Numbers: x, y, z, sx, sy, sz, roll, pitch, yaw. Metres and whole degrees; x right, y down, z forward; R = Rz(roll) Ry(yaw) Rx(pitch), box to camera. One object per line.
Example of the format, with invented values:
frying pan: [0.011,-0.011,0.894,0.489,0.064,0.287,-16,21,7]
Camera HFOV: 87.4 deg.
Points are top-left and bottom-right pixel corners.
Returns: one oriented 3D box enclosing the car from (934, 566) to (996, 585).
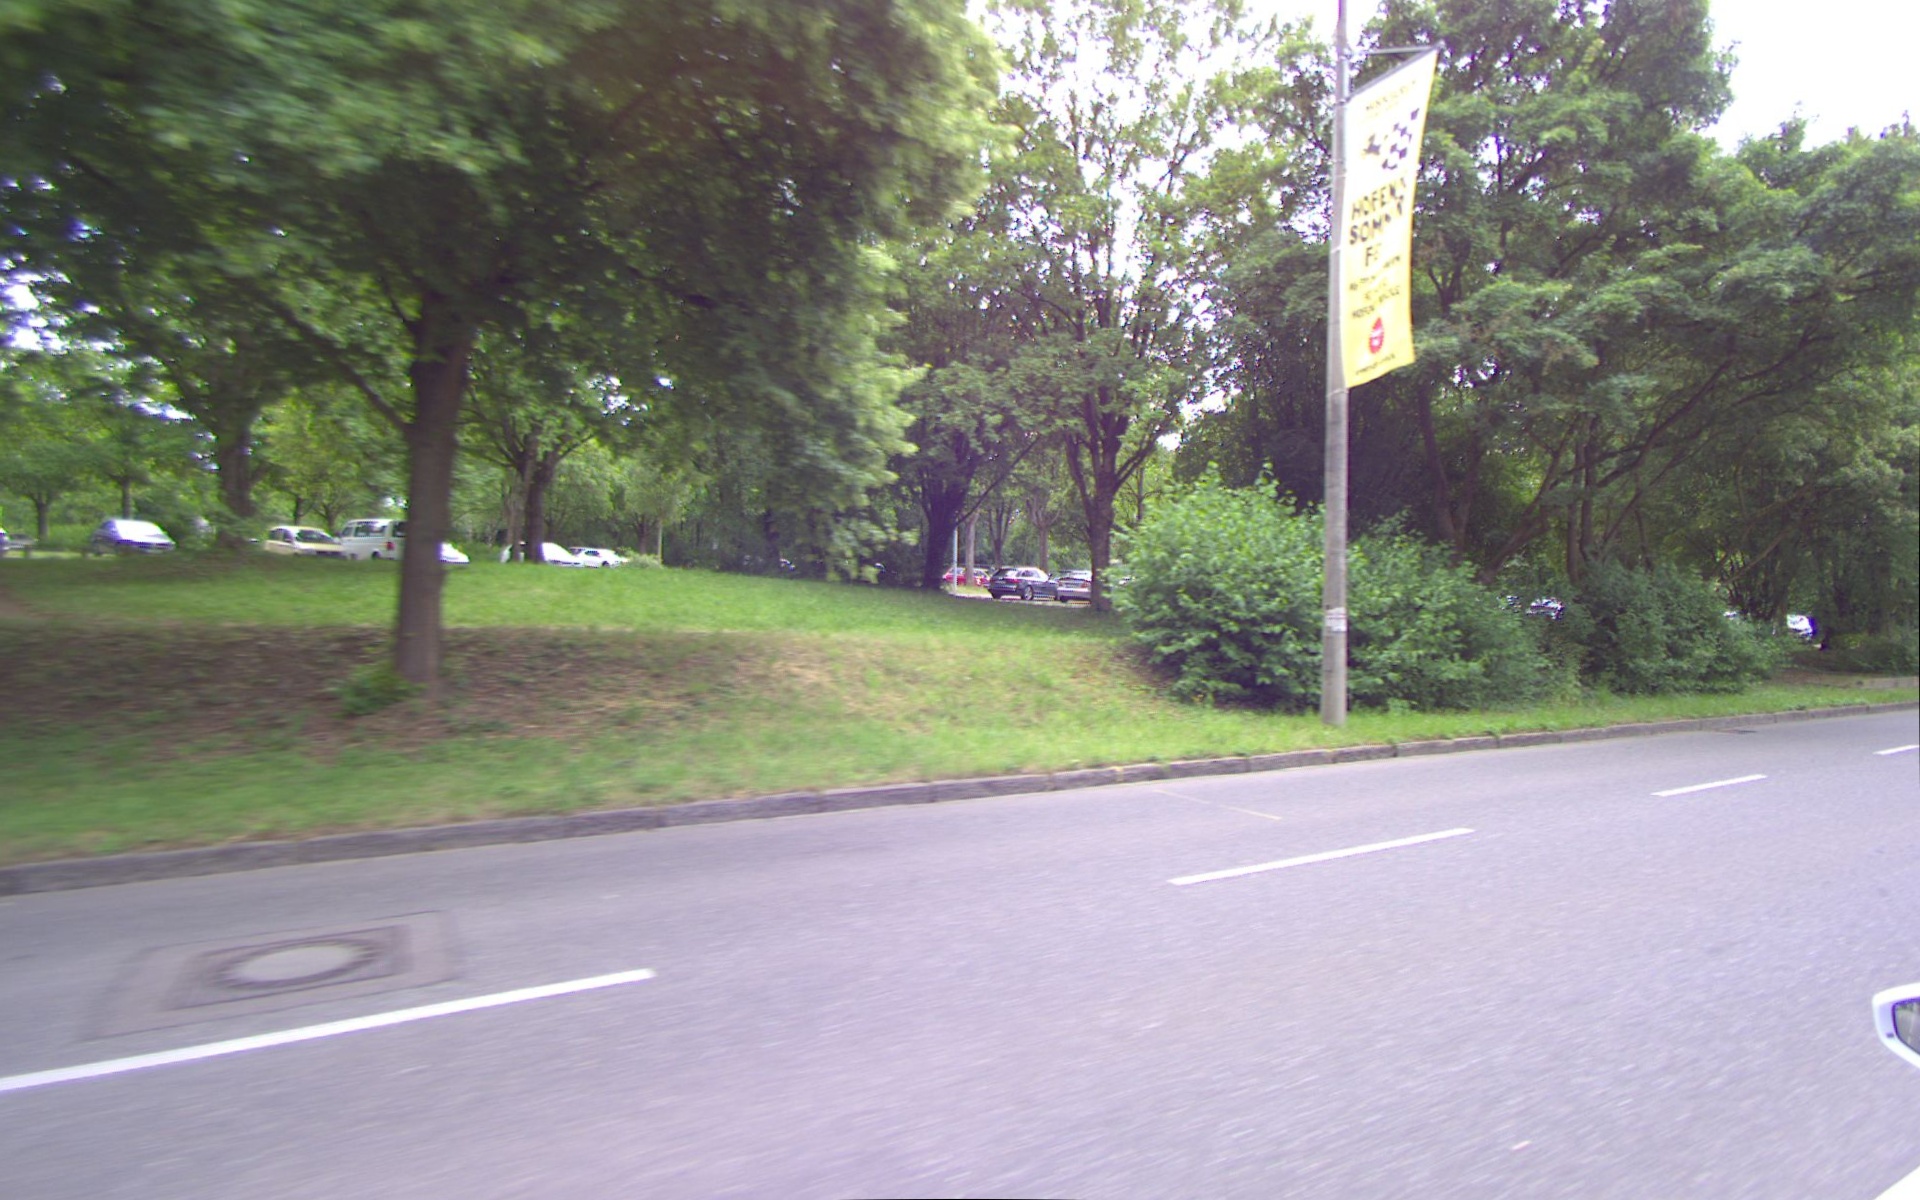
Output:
car: [0.309,-1.687,69.557,3.919,1.226,1.897,2,0,35]

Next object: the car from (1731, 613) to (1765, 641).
car: [43.553,1.472,55.545,1.353,1.420,3.058,3,1,38]

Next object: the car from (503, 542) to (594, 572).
car: [-18.091,-1.872,44.069,3.919,1.226,1.897,2,0,35]

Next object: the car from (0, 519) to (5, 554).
car: [-36.232,-2.331,36.506,3.448,1.250,1.396,2,0,32]

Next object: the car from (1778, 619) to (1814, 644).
car: [45.410,1.706,54.584,1.353,1.255,3.058,3,1,38]

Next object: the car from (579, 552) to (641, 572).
car: [-22.888,-2.485,65.637,3.919,1.226,1.897,2,0,35]

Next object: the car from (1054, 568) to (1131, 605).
car: [5.815,-0.573,43.748,1.624,1.506,3.986,2,0,36]

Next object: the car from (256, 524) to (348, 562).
car: [-23.262,-1.988,35.490,3.448,1.226,1.396,2,0,32]

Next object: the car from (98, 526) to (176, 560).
car: [-33.001,-2.256,40.259,3.448,1.250,1.396,2,0,32]

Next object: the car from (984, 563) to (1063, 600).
car: [2.849,-0.808,44.660,1.624,1.506,3.986,2,0,36]

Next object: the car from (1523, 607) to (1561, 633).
car: [35.508,1.196,61.251,1.624,1.506,3.986,2,0,36]

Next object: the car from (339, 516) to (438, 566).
car: [-21.559,-2.188,37.851,4.048,1.706,1.748,2,0,37]
